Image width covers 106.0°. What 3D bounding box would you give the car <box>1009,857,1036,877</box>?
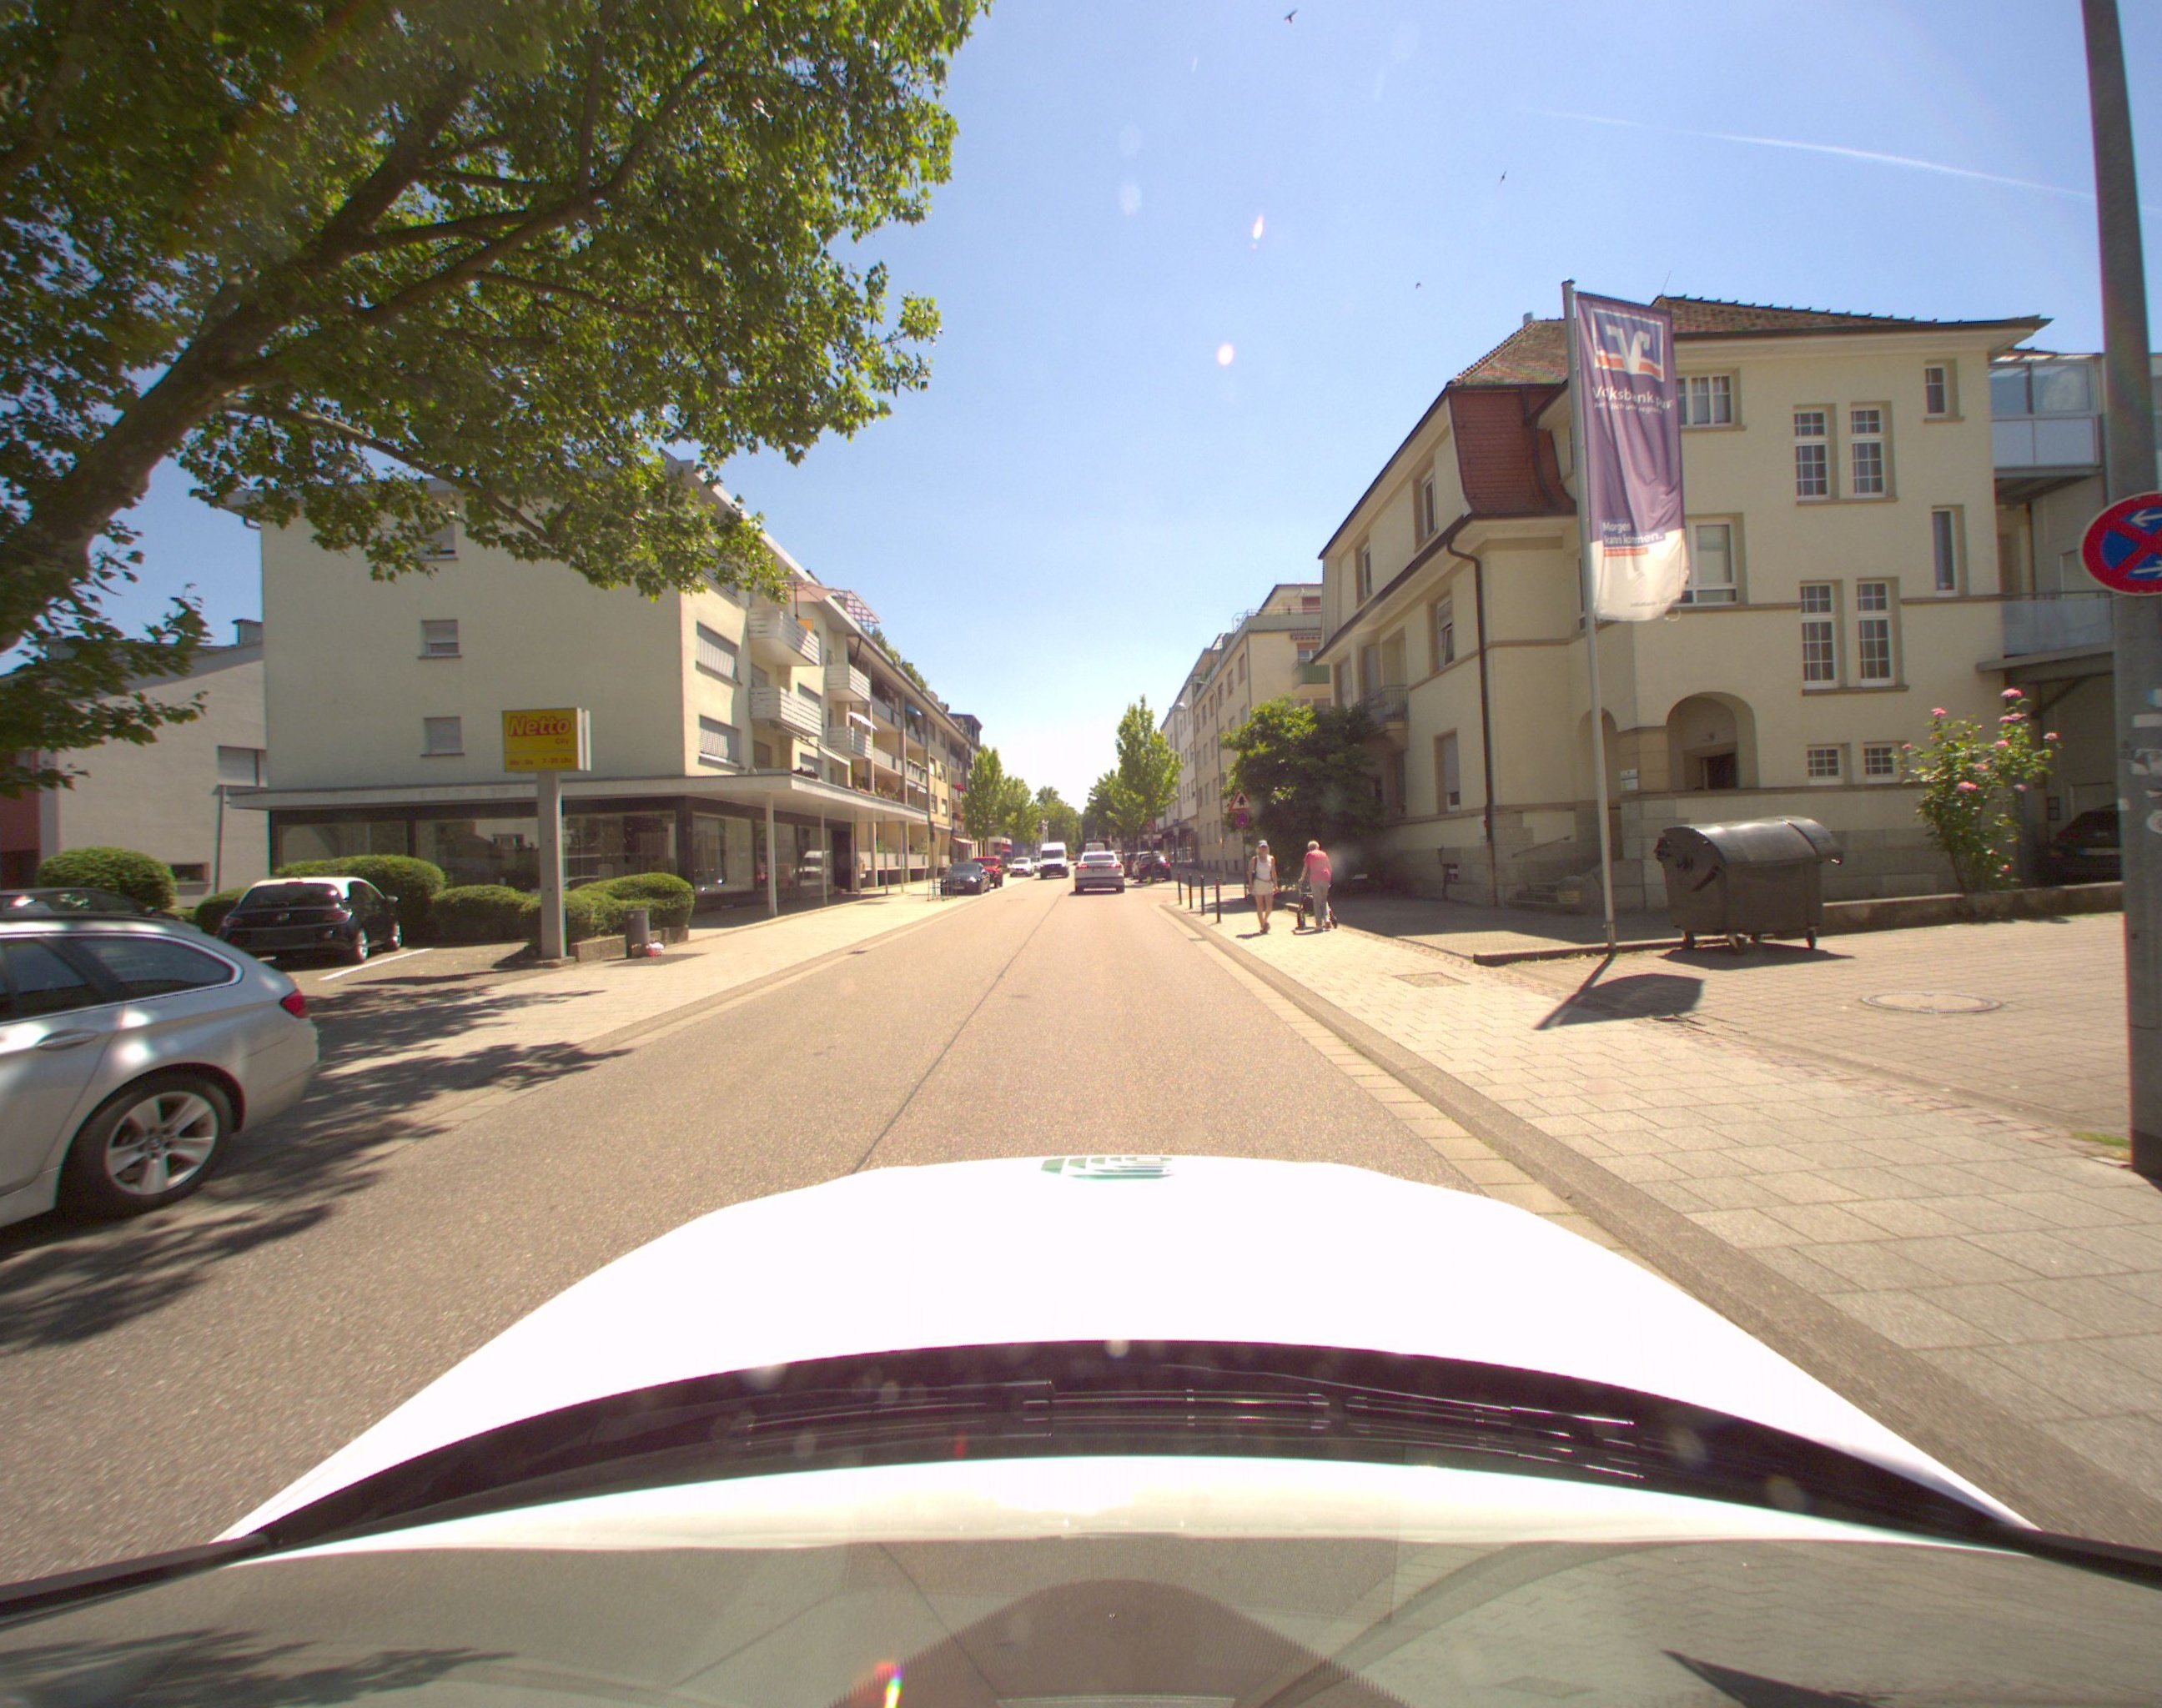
[{"bbox_3d":[-4.805,1.060,67.553,1.746,1.618,4.402,0,0,2],"label":"car"}]

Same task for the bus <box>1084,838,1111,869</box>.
[{"bbox_3d":[1.878,-0.010,88.852,2.649,3.221,7.307,0,0,3],"label":"bus"}]

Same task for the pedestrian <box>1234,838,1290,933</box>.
[{"bbox_3d":[3.269,0.562,14.769,0.698,1.626,0.783,-5,-1,-1],"label":"pedestrian"}]

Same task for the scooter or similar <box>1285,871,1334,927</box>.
[{"bbox_3d":[4.256,0.832,15.220,0.661,0.963,0.754,-3,0,0],"label":"scooter or similar"}]

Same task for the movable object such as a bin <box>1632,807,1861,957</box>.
[{"bbox_3d":[7.458,0.299,9.250,1.362,1.458,1.381,-5,-1,2],"label":"movable object such as a bin"}]

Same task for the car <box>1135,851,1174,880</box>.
[{"bbox_3d":[3.991,0.612,44.940,1.889,1.438,4.547,-2,0,2],"label":"car"}]

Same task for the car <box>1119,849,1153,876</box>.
[{"bbox_3d":[3.759,0.562,56.427,1.851,1.674,4.533,-4,0,-2],"label":"car"}]

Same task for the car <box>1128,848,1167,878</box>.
[{"bbox_3d":[4.115,0.527,51.082,1.891,1.674,4.687,-4,0,-2],"label":"car"}]

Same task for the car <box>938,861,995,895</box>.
[{"bbox_3d":[-5.237,1.067,37.766,1.890,1.417,5.047,0,0,0],"label":"car"}]

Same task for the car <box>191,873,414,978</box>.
[{"bbox_3d":[-13.417,1.116,14.350,1.903,1.486,3.957,-2,0,-30],"label":"car"}]

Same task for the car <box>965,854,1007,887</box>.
[{"bbox_3d":[-5.116,0.852,44.242,1.747,1.702,4.101,0,0,0],"label":"car"}]

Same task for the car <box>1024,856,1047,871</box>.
[{"bbox_3d":[-4.350,0.883,78.420,1.745,1.453,4.403,0,0,3],"label":"car"}]

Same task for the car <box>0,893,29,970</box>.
[{"bbox_3d":[-20.728,1.507,13.840,1.779,1.434,4.002,-4,1,-25],"label":"car"}]

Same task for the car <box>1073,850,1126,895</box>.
[{"bbox_3d":[0.683,0.692,32.485,1.987,1.633,3.999,-1,0,-1],"label":"car"}]

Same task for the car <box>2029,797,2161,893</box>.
[{"bbox_3d":[18.701,-0.209,13.604,3.721,1.491,1.752,-2,0,-1],"label":"car"}]

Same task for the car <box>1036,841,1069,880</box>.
[{"bbox_3d":[-2.068,0.441,60.832,2.030,2.630,7.107,-4,0,0],"label":"car"}]

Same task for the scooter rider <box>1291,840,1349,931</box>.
[{"bbox_3d":[4.239,0.546,14.503,0.714,1.548,0.770,-3,0,-1],"label":"scooter rider"}]

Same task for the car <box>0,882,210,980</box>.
[{"bbox_3d":[-18.391,1.343,14.756,1.749,1.462,3.908,-3,0,-16],"label":"car"}]

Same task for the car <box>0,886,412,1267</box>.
[{"bbox_3d":[-5.336,0.950,2.692,1.975,1.452,5.149,-1,0,0],"label":"car"}]

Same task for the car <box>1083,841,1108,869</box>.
[{"bbox_3d":[1.337,0.092,75.109,2.148,2.442,5.284,0,0,1],"label":"car"}]

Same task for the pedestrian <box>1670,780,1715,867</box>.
[{"bbox_3d":[12.069,-0.587,16.085,0.587,1.658,0.743,-2,0,32],"label":"pedestrian"}]
